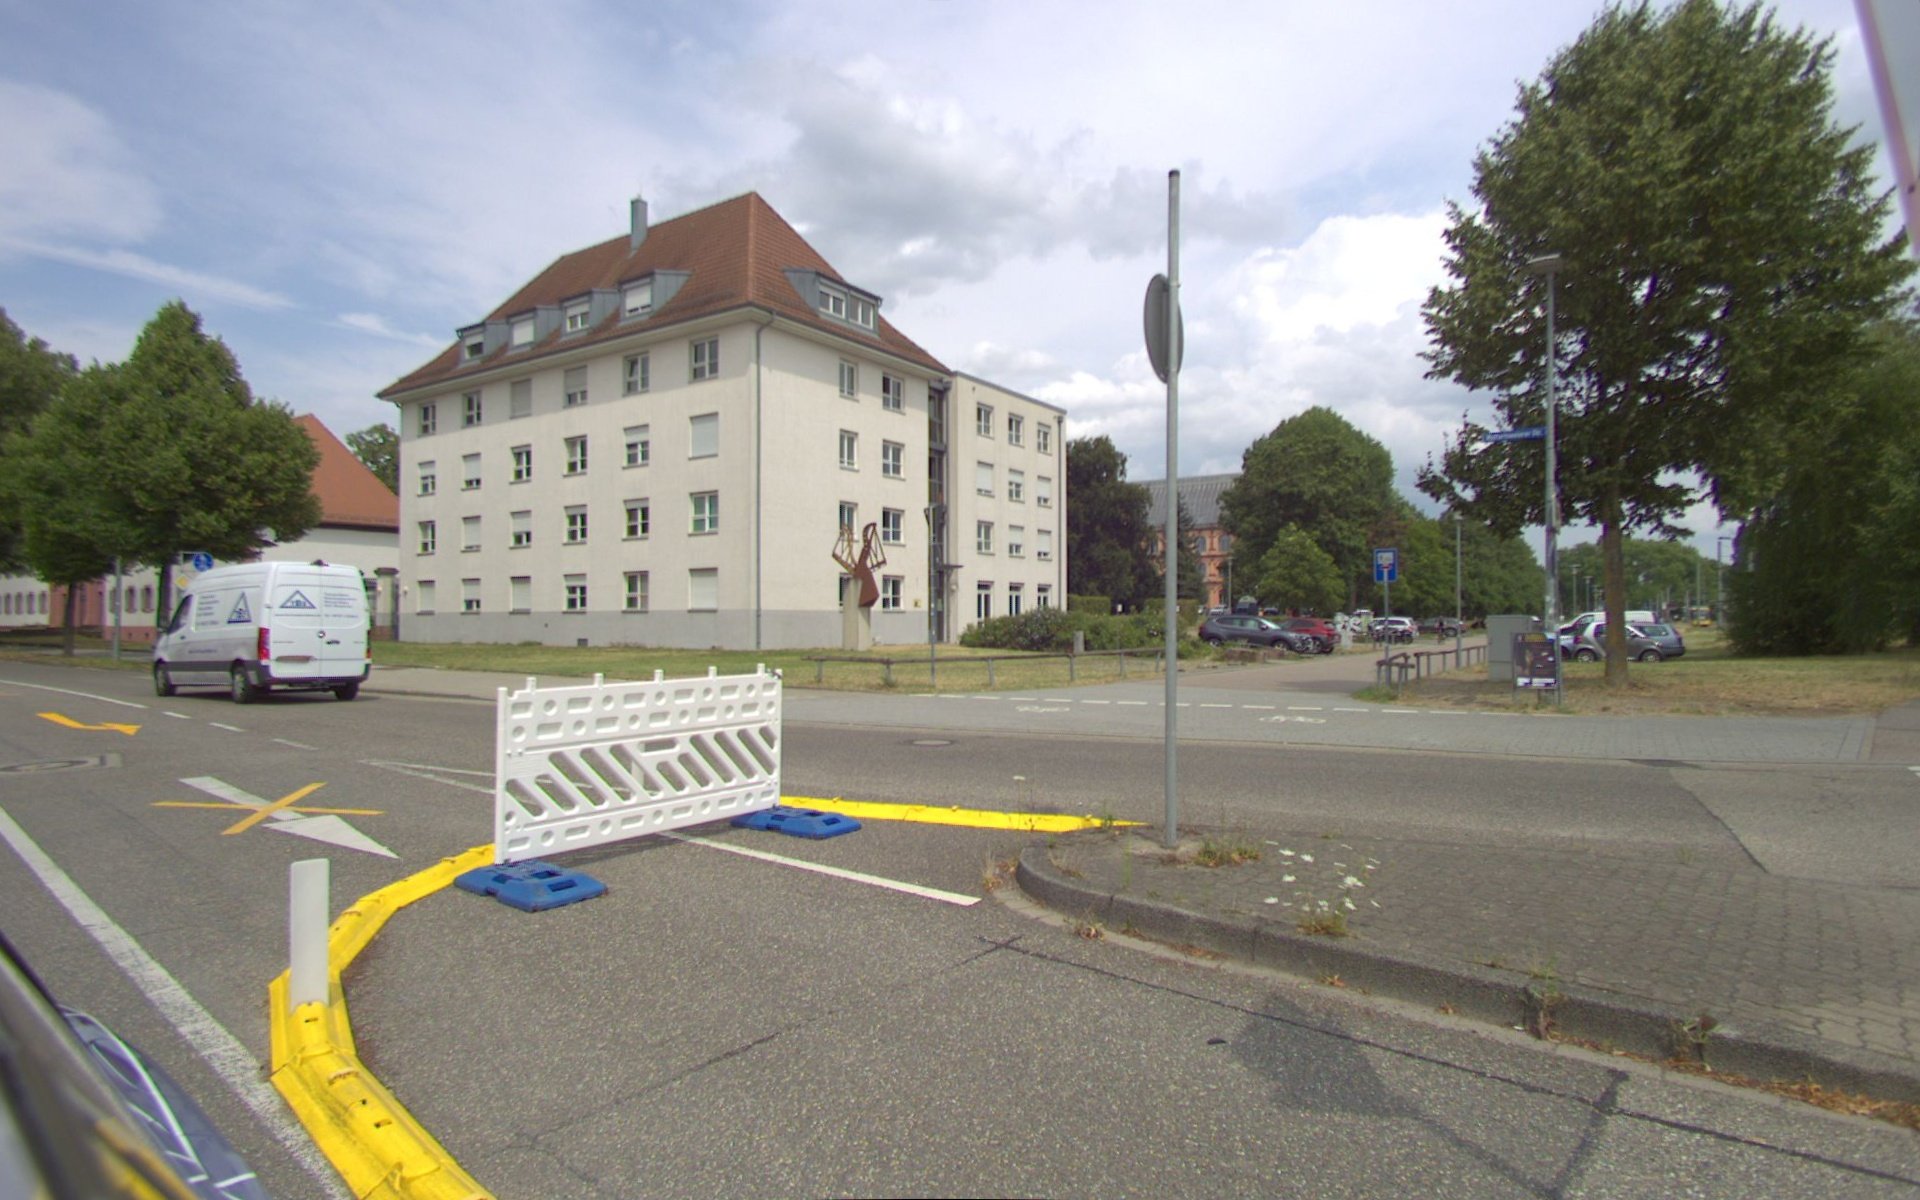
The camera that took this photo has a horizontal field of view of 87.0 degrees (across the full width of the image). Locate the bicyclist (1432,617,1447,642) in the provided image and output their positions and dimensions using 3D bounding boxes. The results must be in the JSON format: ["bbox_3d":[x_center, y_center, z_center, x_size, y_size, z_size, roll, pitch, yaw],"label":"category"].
[{"bbox_3d":[28.222,1.736,59.588,0.602,1.434,0.792,-2,-2,41],"label":"bicyclist"}]

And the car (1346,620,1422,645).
[{"bbox_3d":[25.791,1.934,61.565,3.995,1.479,1.797,-1,-1,33],"label":"car"}]

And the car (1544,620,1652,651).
[{"bbox_3d":[32.629,1.793,51.834,4.593,1.482,1.812,-1,-1,34],"label":"car"}]

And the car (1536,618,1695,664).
[{"bbox_3d":[23.757,1.506,36.886,4.690,1.482,1.813,-3,-2,31],"label":"car"}]

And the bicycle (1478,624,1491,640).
[{"bbox_3d":[39.840,2.418,76.884,0.776,1.185,2.207,-1,-1,30],"label":"bicycle"}]

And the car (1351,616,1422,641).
[{"bbox_3d":[27.744,1.871,65.850,3.995,1.586,1.797,-1,-2,33],"label":"car"}]

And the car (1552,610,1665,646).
[{"bbox_3d":[38.406,1.658,60.143,5.552,2.071,2.177,-1,-1,32],"label":"car"}]

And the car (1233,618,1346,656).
[{"bbox_3d":[14.579,1.614,44.824,4.397,1.610,1.976,-1,-1,35],"label":"car"}]

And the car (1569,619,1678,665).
[{"bbox_3d":[22.625,1.445,34.623,2.902,1.434,1.470,-3,-3,28],"label":"car"}]

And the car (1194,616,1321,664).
[{"bbox_3d":[11.768,1.548,40.162,4.487,1.778,1.978,-1,-1,33],"label":"car"}]

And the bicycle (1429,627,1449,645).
[{"bbox_3d":[28.181,2.109,59.526,0.602,1.054,1.804,-2,-2,41],"label":"bicycle"}]

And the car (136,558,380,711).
[{"bbox_3d":[-14.269,0.648,20.430,5.955,2.706,2.047,-1,-1,34],"label":"car"}]

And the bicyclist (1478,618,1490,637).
[{"bbox_3d":[39.822,2.067,76.872,0.777,1.415,0.722,-1,-1,30],"label":"bicyclist"}]

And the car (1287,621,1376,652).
[{"bbox_3d":[18.857,1.821,51.384,3.995,1.479,1.597,-1,-1,33],"label":"car"}]

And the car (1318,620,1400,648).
[{"bbox_3d":[22.187,1.879,56.310,3.995,1.479,1.797,-1,-1,33],"label":"car"}]

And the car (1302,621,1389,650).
[{"bbox_3d":[20.194,1.845,53.026,3.995,1.479,1.797,-1,-1,33],"label":"car"}]
